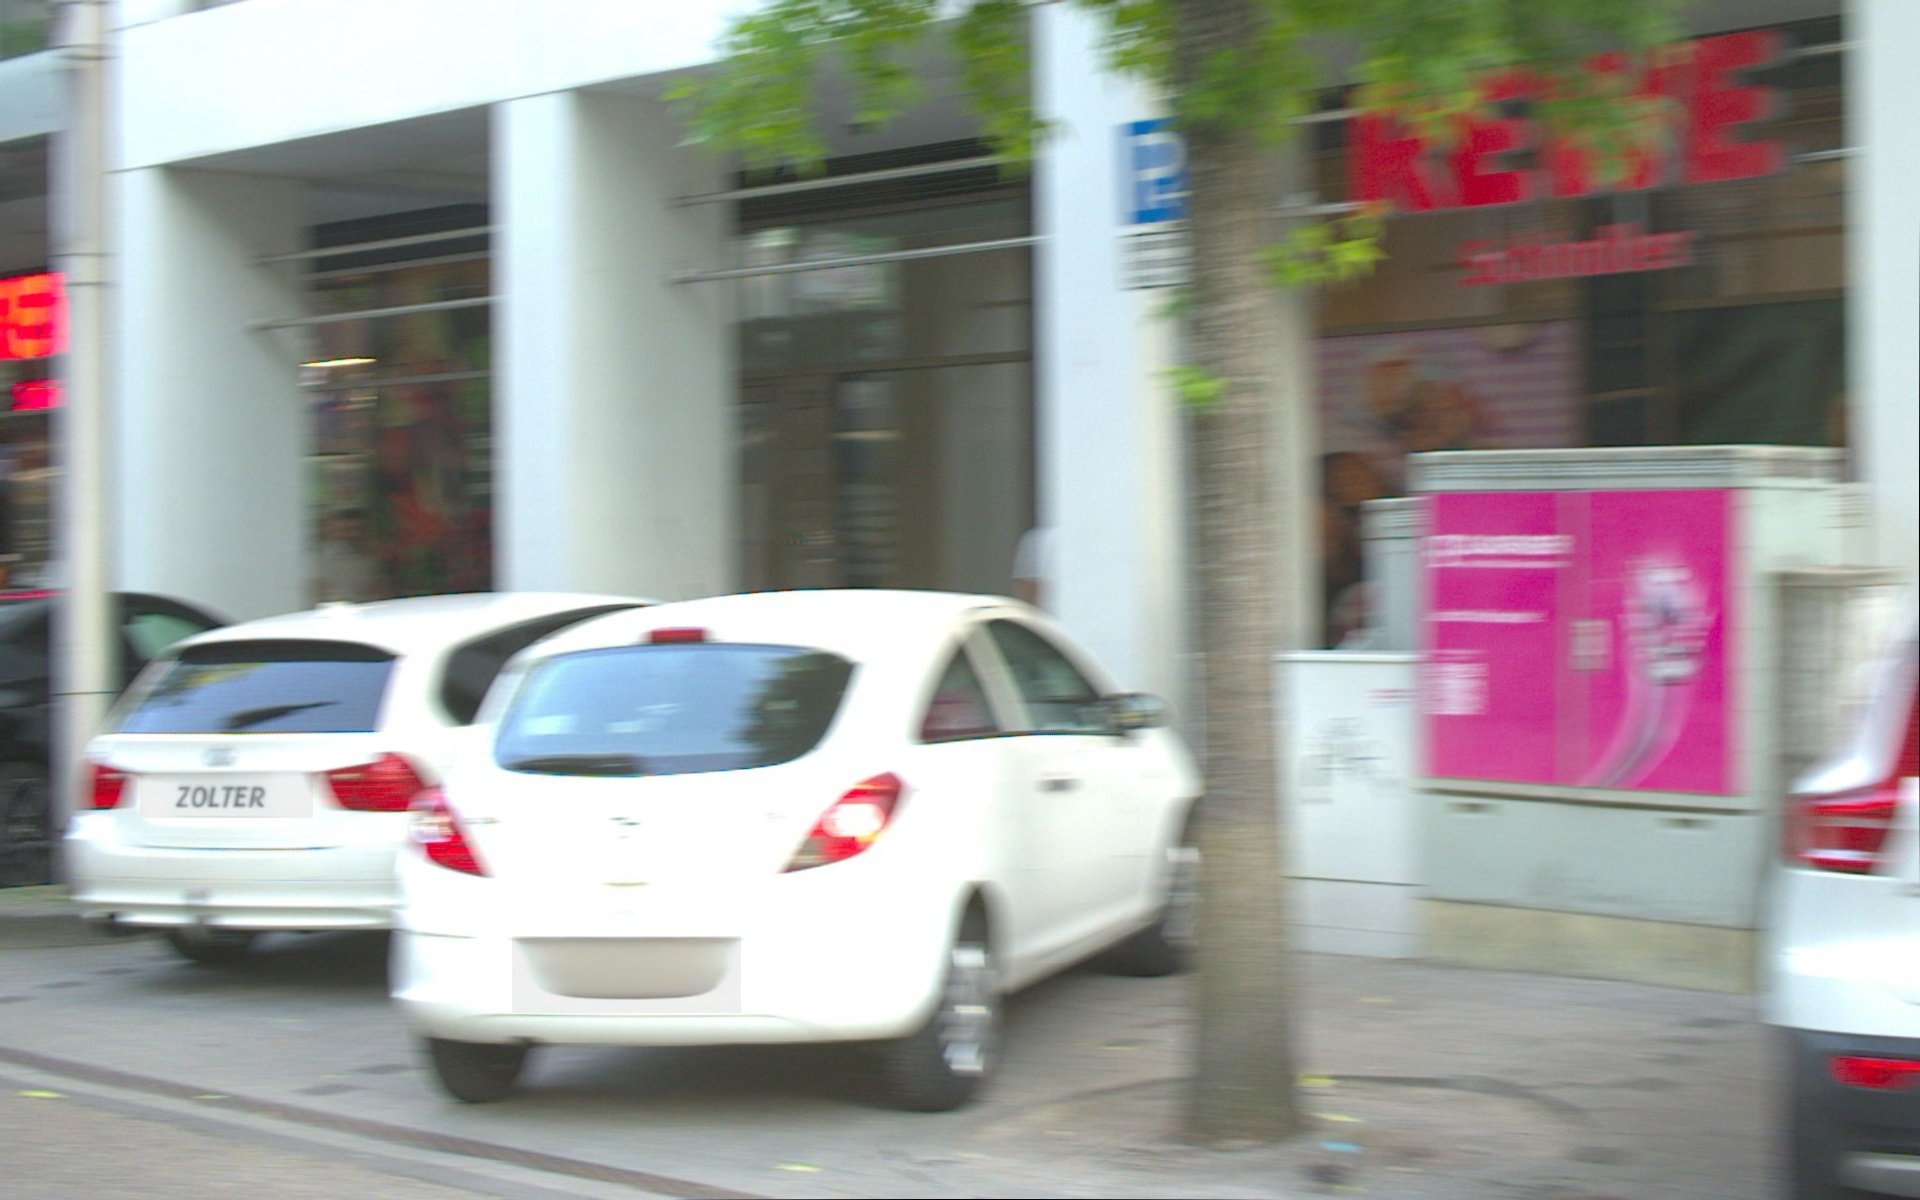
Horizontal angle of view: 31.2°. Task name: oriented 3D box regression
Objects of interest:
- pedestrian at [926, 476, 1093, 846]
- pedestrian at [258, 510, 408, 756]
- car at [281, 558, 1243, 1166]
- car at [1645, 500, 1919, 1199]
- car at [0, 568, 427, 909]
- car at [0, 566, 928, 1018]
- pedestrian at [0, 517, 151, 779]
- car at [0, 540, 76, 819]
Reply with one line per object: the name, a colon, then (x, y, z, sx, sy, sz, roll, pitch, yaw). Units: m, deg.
pedestrian: (0.253, 0.287, 16.989, 0.680, 1.765, 0.805, 1, 1, 9)
pedestrian: (-4.431, 0.222, 24.272, 0.680, 1.693, 0.805, 1, 1, -44)
car: (-0.419, 0.704, 11.376, 1.791, 1.496, 4.065, -2, 2, 18)
car: (3.050, 0.593, 8.187, 1.948, 1.666, 4.268, -2, 2, 22)
car: (-4.749, 0.659, 17.294, 1.951, 1.417, 4.345, -1, 2, 25)
car: (-1.914, 0.665, 14.416, 1.825, 1.417, 4.345, -1, 3, 25)
pedestrian: (-6.126, 0.322, 23.785, 0.680, 1.765, 0.805, 1, 1, -44)
car: (-6.937, 0.558, 19.295, 1.950, 1.634, 4.674, -1, 2, 11)
